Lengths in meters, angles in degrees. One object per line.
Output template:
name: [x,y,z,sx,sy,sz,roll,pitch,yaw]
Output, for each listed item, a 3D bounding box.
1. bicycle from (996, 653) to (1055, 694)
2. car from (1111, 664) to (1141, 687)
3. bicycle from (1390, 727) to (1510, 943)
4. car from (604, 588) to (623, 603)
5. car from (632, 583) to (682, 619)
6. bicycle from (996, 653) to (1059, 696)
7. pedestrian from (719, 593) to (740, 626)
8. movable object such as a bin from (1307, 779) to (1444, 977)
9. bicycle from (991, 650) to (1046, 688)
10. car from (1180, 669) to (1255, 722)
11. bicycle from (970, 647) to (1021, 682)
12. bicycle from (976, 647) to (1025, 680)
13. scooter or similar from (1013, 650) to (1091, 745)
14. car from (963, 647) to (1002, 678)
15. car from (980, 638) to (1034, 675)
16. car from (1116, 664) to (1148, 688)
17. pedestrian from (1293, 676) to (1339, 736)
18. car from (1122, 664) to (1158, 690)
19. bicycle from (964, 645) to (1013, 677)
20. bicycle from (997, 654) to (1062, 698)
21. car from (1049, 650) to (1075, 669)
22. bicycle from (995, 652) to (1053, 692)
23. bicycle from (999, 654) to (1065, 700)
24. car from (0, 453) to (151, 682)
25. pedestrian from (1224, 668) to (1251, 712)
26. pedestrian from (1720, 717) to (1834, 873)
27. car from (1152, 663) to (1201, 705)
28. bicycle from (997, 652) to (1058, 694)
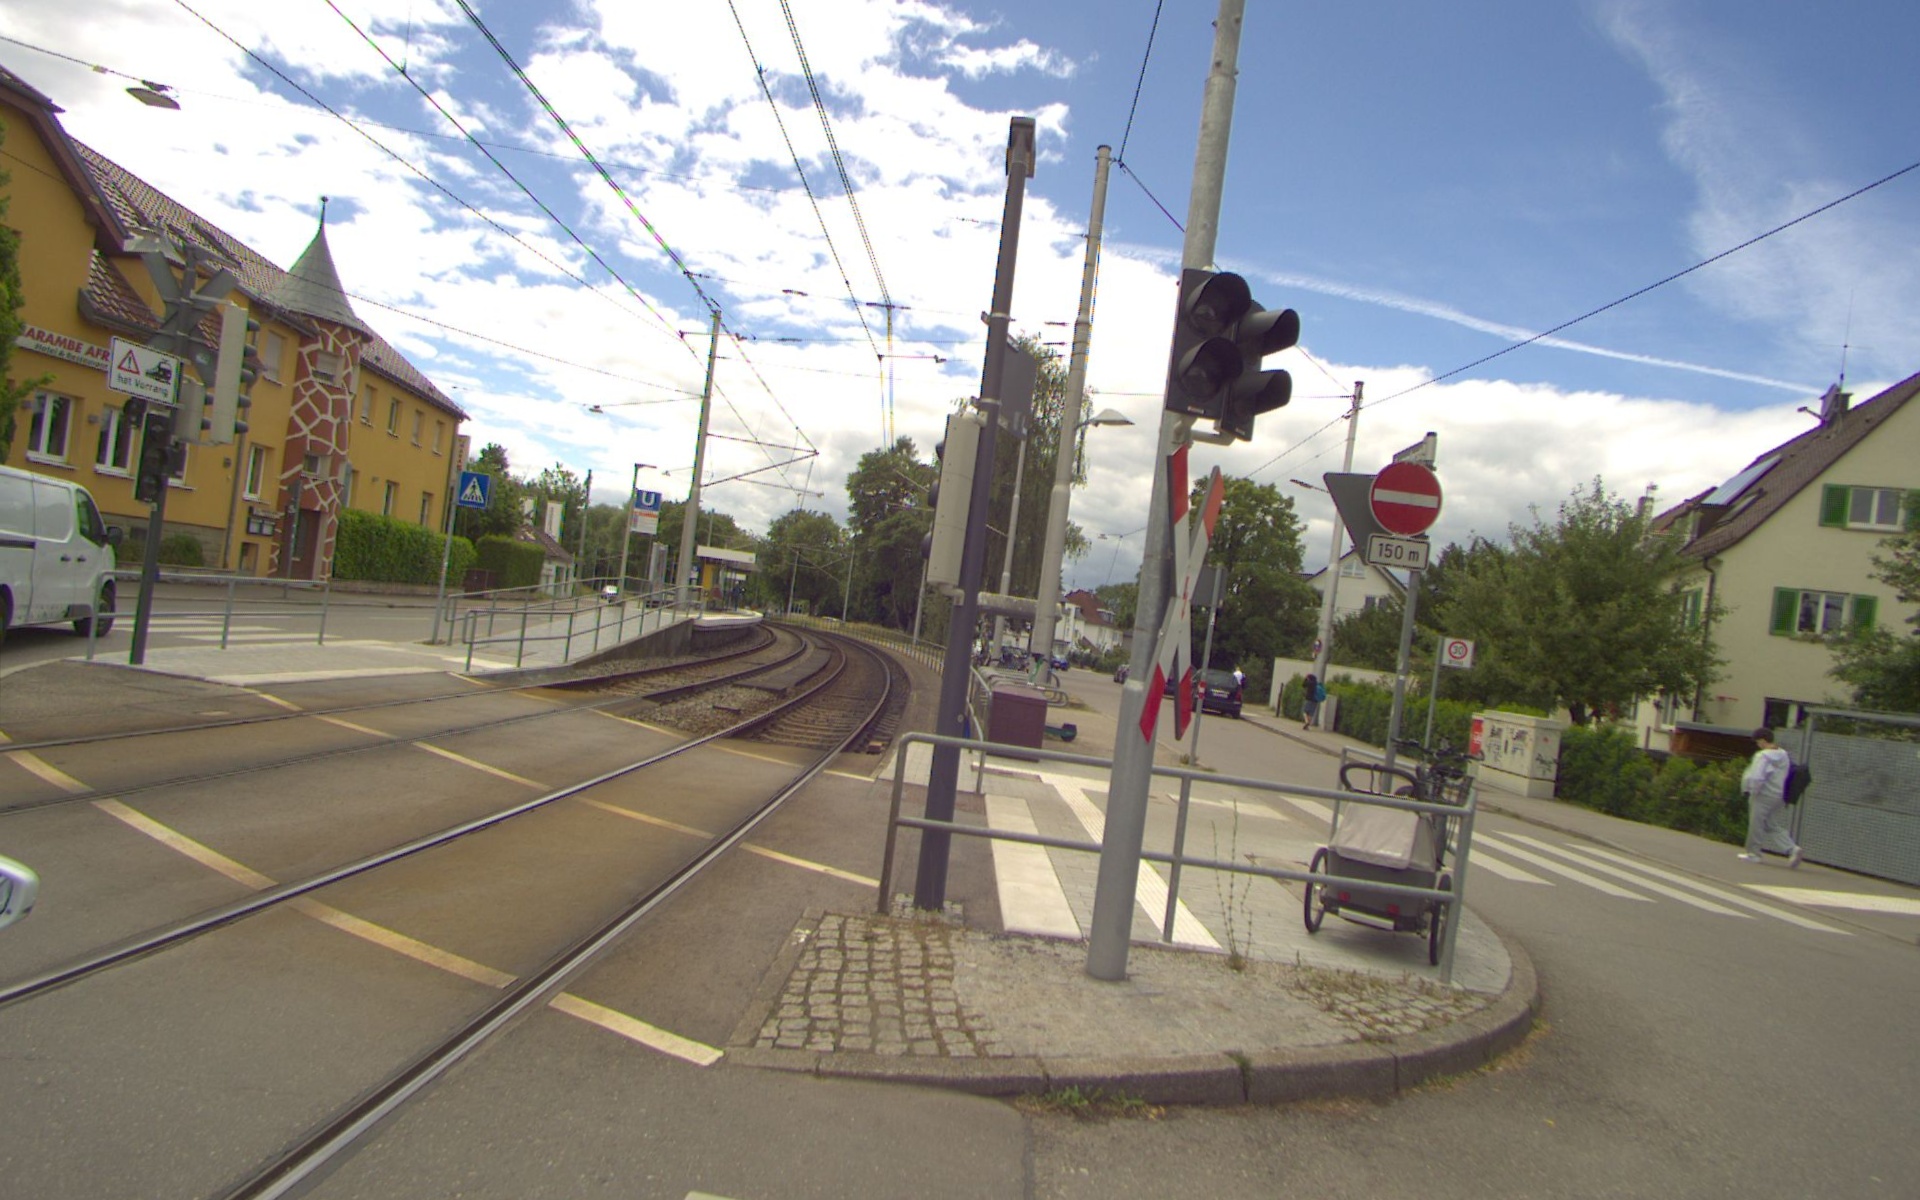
bicycle: [2.076,2.325,32.083,1.738,1.054,0.557,8,-1,-1]
car: [12.847,5.818,77.922,1.729,1.505,3.906,7,-3,4]
bicycle: [3.331,1.526,6.945,0.458,1.169,1.693,7,-1,21]
car: [-36.476,-0.445,105.904,1.797,1.436,4.448,5,-2,-19]
car: [-17.068,0.062,56.862,2.328,1.581,4.362,9,-3,-15]
bicycle: [2.035,2.265,30.512,1.738,1.054,0.557,8,-1,-1]
pedestrian: [-12.476,0.504,54.429,0.874,1.690,0.908,7,-1,-11]
movable object such as a bin: [2.382,1.529,5.753,0.569,0.834,1.095,7,-2,24]
bicycle: [2.012,2.359,34.567,1.738,1.054,0.557,8,-1,-1]
car: [9.455,3.469,37.271,1.787,1.503,4.426,7,-2,5]
bicycle: [1.318,2.369,37.239,1.738,1.054,0.557,8,-1,-1]
bicycle: [1.584,2.492,39.621,1.742,1.054,0.556,8,-1,-11]
scooter or similar: [1.428,1.513,15.726,1.032,1.332,0.489,7,1,1]
car: [1.403,4.003,64.890,1.732,1.592,4.097,8,-2,-7]
car: [2.481,3.024,54.480,2.034,1.592,4.257,8,-2,-7]
car: [12.386,5.460,72.498,1.729,1.504,4.704,7,-3,5]
pedestrian: [11.023,3.265,31.184,0.797,1.705,0.948,8,-1,-7]
car: [11.876,5.066,66.654,1.729,1.504,4.937,7,-3,5]
bicycle: [1.137,2.450,40.326,1.742,1.054,0.556,8,-1,-12]
bicycle: [2.048,2.234,29.794,1.738,1.054,0.557,8,-1,-1]
car: [9.926,5.771,97.605,2.030,1.592,4.266,7,-2,11]
bicycle: [2.096,2.356,32.984,1.738,1.054,0.557,8,-1,-1]
bicycle: [2.065,2.201,28.890,1.738,1.054,0.557,8,-1,-1]
car: [-10.872,-0.498,10.853,2.101,2.158,5.403,9,-2,-28]
pedestrian: [12.299,3.986,44.558,0.814,1.792,0.683,7,-1,33]
pedestrian: [11.097,2.638,13.685,0.618,1.938,0.826,7,1,-25]
car: [10.271,3.948,47.971,1.787,1.654,4.845,7,-2,8]
bicycle: [2.094,2.276,31.371,1.738,1.054,0.557,8,-1,-1]
